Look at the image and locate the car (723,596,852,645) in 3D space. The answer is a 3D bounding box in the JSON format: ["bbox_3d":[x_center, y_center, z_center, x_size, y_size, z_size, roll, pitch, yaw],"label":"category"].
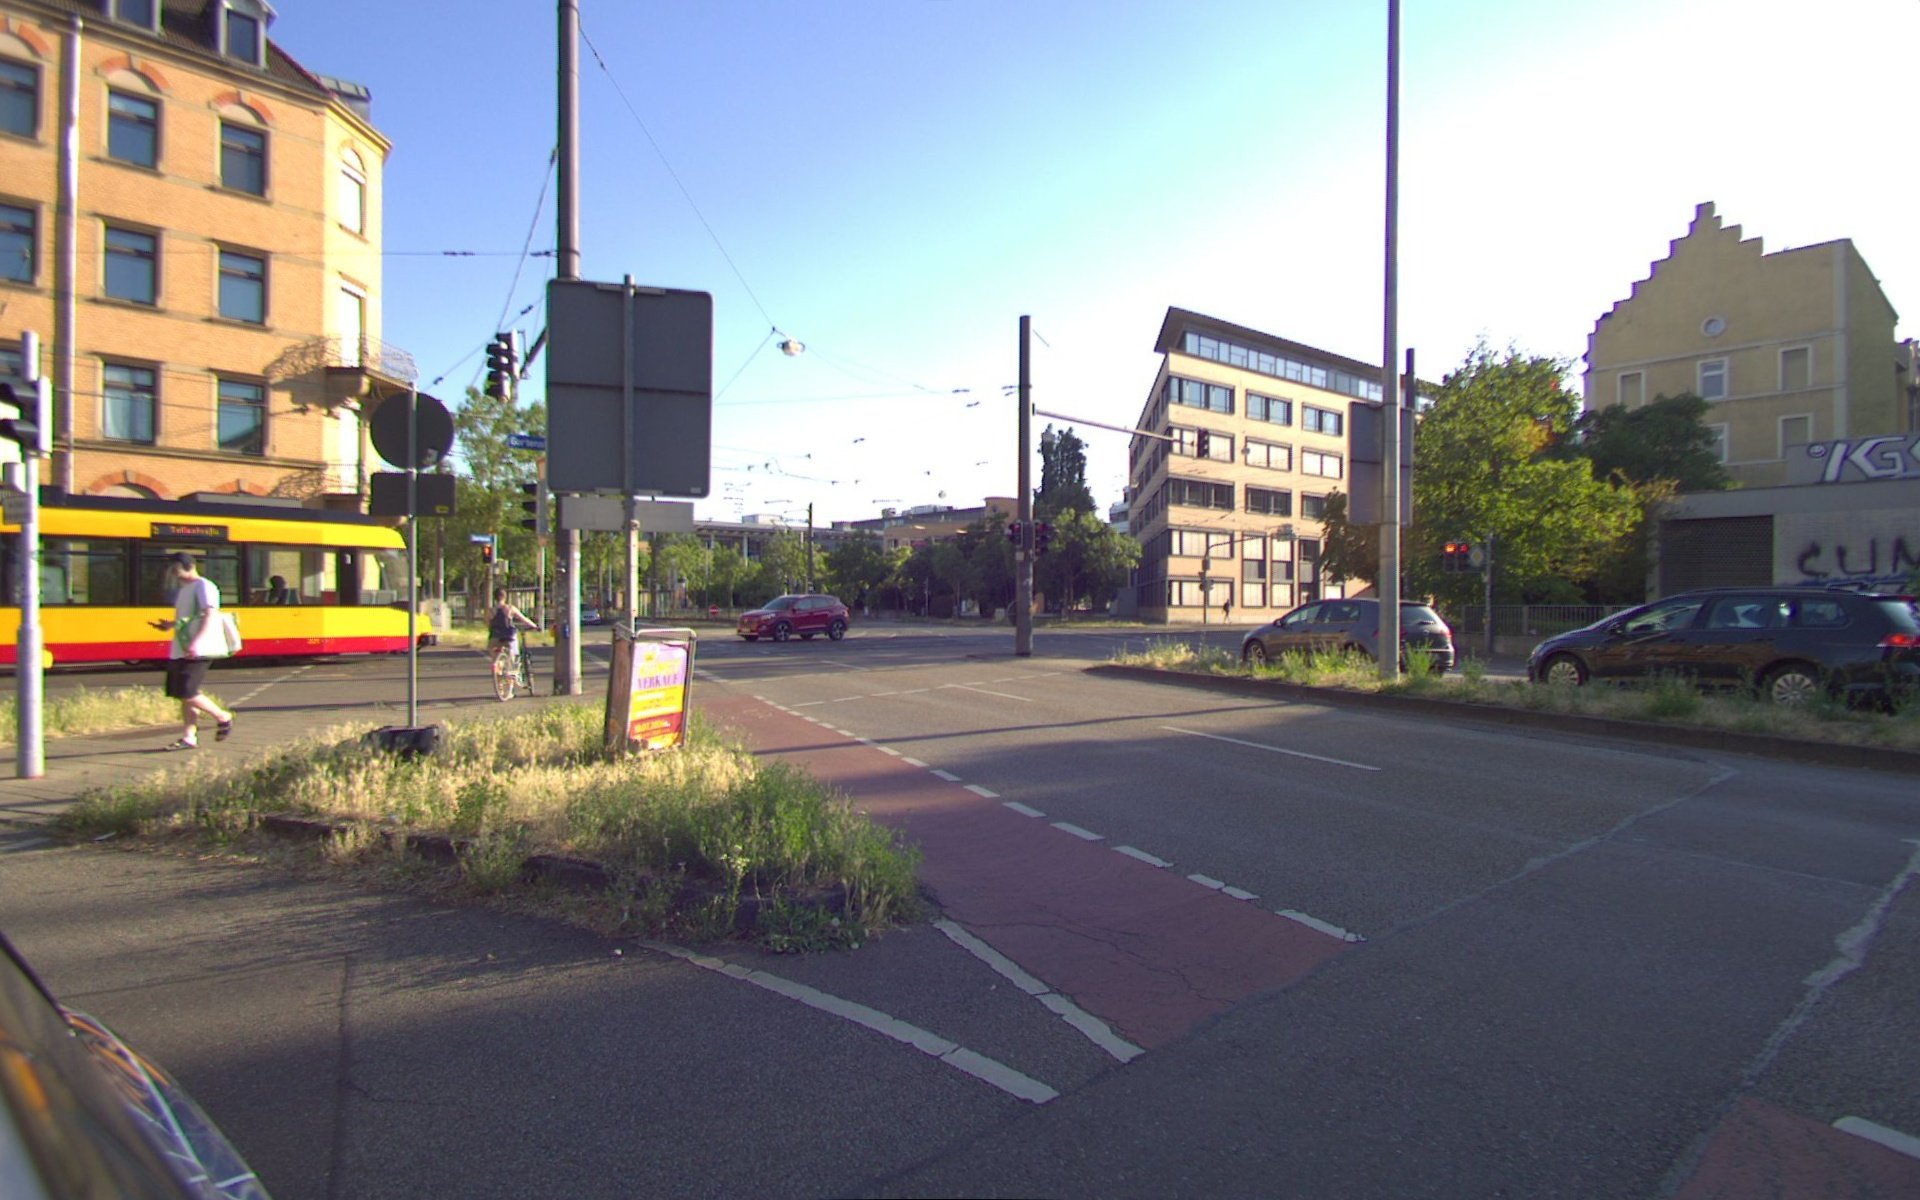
[{"bbox_3d":[-6.079,0.713,36.154,1.821,1.627,4.404,0,-1,41],"label":"car"}]

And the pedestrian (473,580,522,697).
[{"bbox_3d":[-6.625,0.543,14.510,0.482,1.644,0.526,0,-1,-5],"label":"pedestrian"}]

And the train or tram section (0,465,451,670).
[{"bbox_3d":[-16.366,-0.542,19.883,2.869,3.534,11.141,0,-1,41],"label":"train or tram section"}]

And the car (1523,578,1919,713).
[{"bbox_3d":[9.271,0.464,12.013,1.694,1.306,4.391,0,-1,-23],"label":"car"}]

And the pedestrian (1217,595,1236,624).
[{"bbox_3d":[18.794,0.653,71.381,0.973,2.029,0.932,1,-1,-38],"label":"pedestrian"}]

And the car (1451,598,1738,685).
[{"bbox_3d":[10.804,0.654,17.539,1.694,1.329,3.907,0,-1,-26],"label":"car"}]

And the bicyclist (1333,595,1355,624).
[{"bbox_3d":[27.291,0.689,71.928,1.230,2.029,0.997,0,-1,-35],"label":"bicyclist"}]

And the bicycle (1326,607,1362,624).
[{"bbox_3d":[27.297,1.115,71.929,2.780,1.144,1.015,0,0,-35],"label":"bicycle"}]

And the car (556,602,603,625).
[{"bbox_3d":[-26.418,0.916,70.199,1.967,1.586,4.009,1,-1,-37],"label":"car"}]

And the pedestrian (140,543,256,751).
[{"bbox_3d":[-7.085,0.413,9.404,0.814,1.802,0.913,1,-1,-39],"label":"pedestrian"}]

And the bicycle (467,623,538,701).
[{"bbox_3d":[-6.539,0.861,14.526,0.393,1.037,1.674,0,-1,-5],"label":"bicycle"}]

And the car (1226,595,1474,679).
[{"bbox_3d":[6.781,0.599,18.120,1.694,1.306,4.263,0,-1,-22],"label":"car"}]
